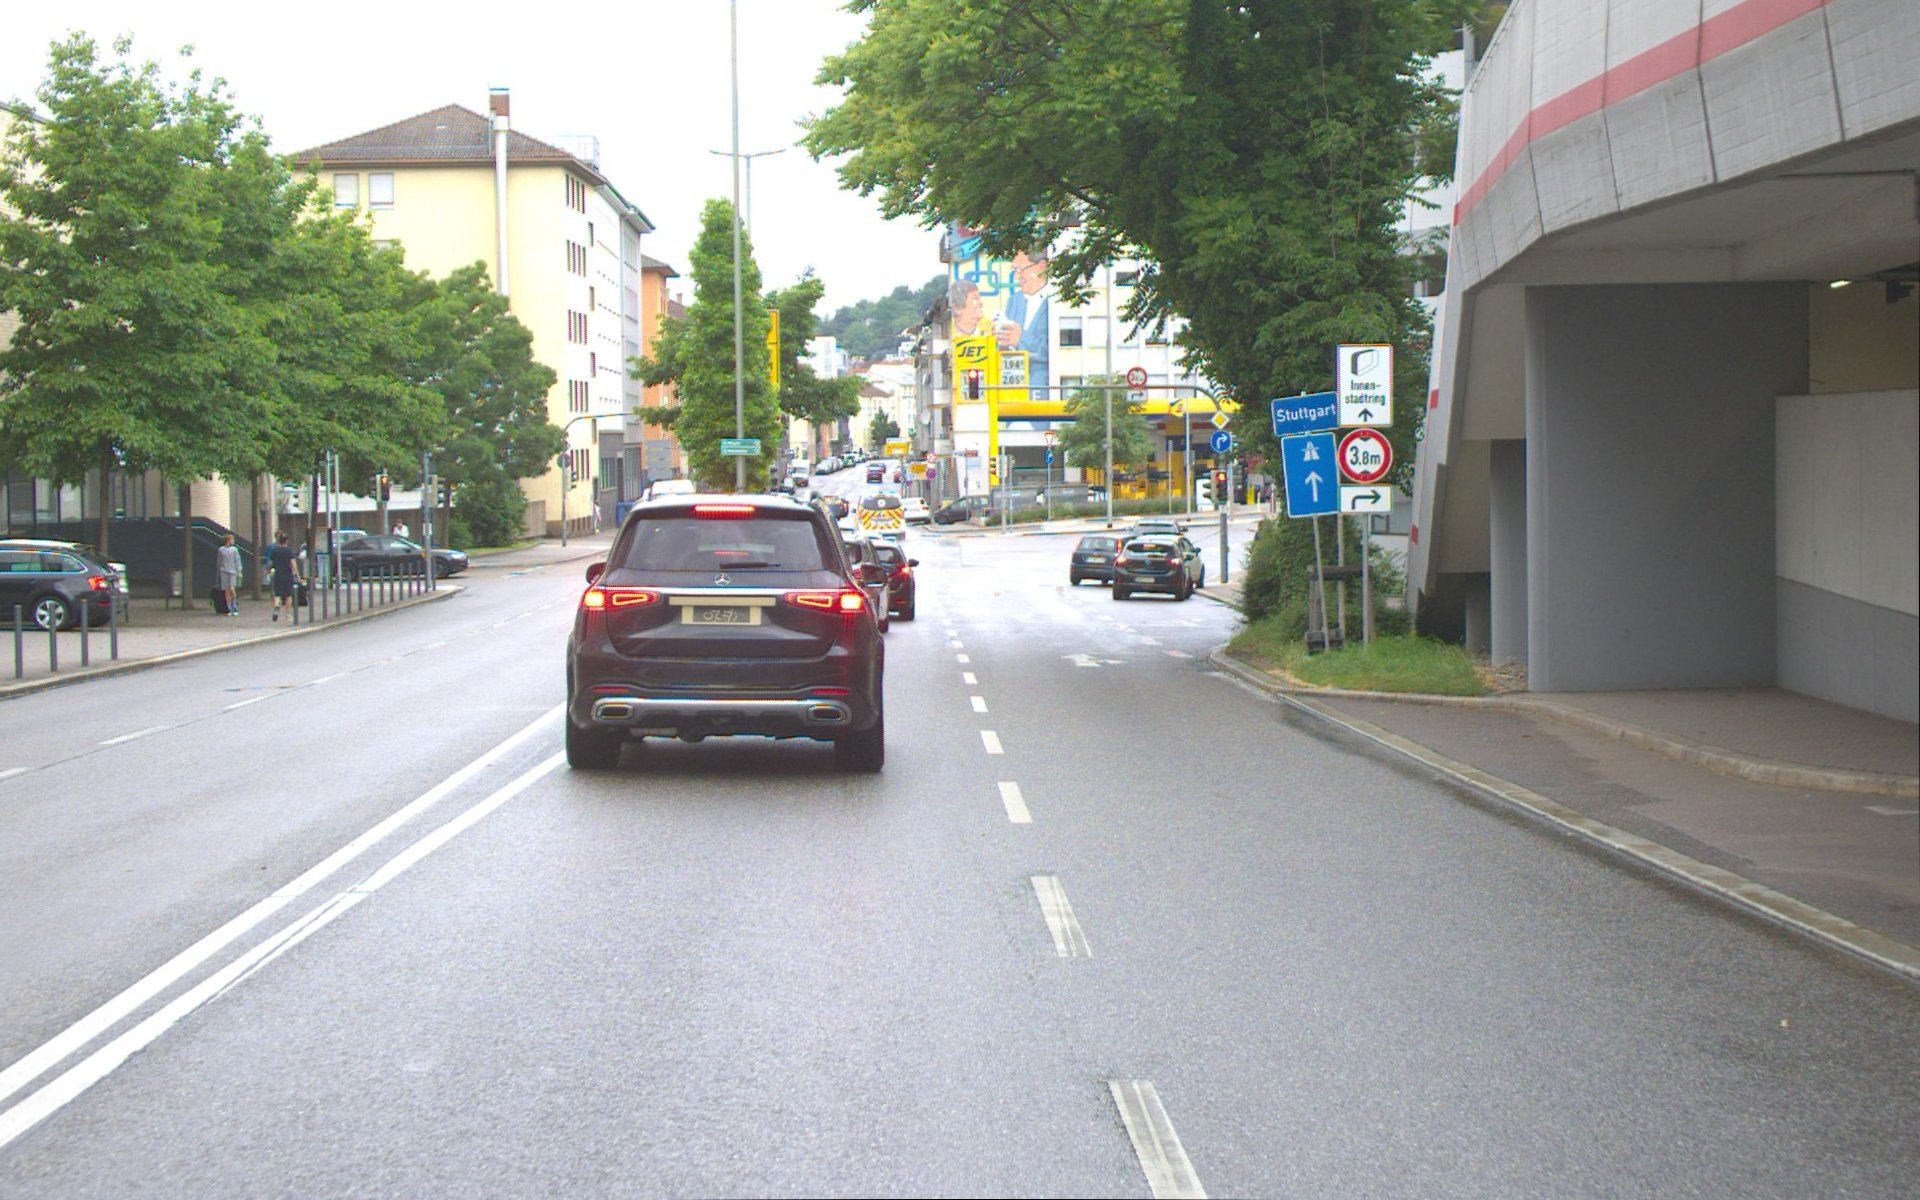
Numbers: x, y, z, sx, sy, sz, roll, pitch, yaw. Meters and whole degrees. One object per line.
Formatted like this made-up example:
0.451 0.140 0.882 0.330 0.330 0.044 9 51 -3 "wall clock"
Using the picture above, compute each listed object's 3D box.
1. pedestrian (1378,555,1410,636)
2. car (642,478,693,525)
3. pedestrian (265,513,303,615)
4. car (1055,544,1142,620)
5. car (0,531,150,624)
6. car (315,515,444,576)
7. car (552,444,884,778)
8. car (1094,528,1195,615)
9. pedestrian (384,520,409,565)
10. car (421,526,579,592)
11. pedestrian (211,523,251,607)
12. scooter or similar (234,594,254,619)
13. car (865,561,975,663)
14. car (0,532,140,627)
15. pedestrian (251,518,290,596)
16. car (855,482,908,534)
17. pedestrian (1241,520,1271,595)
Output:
8.216 -0.083 65.103 0.551 1.527 0.488 1 0 5 "pedestrian"
-12.499 -4.182 147.144 1.993 1.868 5.142 1 0 -3 "car"
-13.559 -0.718 68.973 0.587 2.007 0.749 1 -2 -3 "pedestrian"
3.786 -0.490 94.685 1.993 2.007 4.000 1 0 -3 "car"
-17.121 -0.431 62.530 4.415 1.568 2.001 1 3 -6 "car"
-18.662 -1.745 110.487 3.986 1.936 2.001 -1 1 -13 "car"
-1.567 0.053 23.108 1.993 2.007 4.000 1 0 -2 "car"
4.394 -0.702 82.474 1.993 2.007 4.001 0 1 -3 "car"
-18.546 -1.899 113.221 0.711 1.457 0.598 1 0 -2 "pedestrian"
-14.295 -1.289 106.800 4.803 2.006 2.001 0 2 -8 "car"
-15.029 -0.717 70.907 0.676 1.691 0.479 2 0 -2 "pedestrian"
-14.901 0.131 71.572 0.280 0.499 0.616 1 0 -1 "scooter or similar"
-0.729 0.195 60.642 1.703 1.710 3.444 1 0 -4 "car"
-16.830 -0.351 60.469 4.467 1.581 2.001 -1 1 -7 "car"
-15.472 -0.963 77.152 0.688 1.720 0.754 1 -2 -1 "pedestrian"
-3.140 -3.664 136.477 1.993 2.006 4.001 1 2 -2 "car"
7.696 -1.103 89.346 0.663 1.911 0.728 1 0 13 "pedestrian"
